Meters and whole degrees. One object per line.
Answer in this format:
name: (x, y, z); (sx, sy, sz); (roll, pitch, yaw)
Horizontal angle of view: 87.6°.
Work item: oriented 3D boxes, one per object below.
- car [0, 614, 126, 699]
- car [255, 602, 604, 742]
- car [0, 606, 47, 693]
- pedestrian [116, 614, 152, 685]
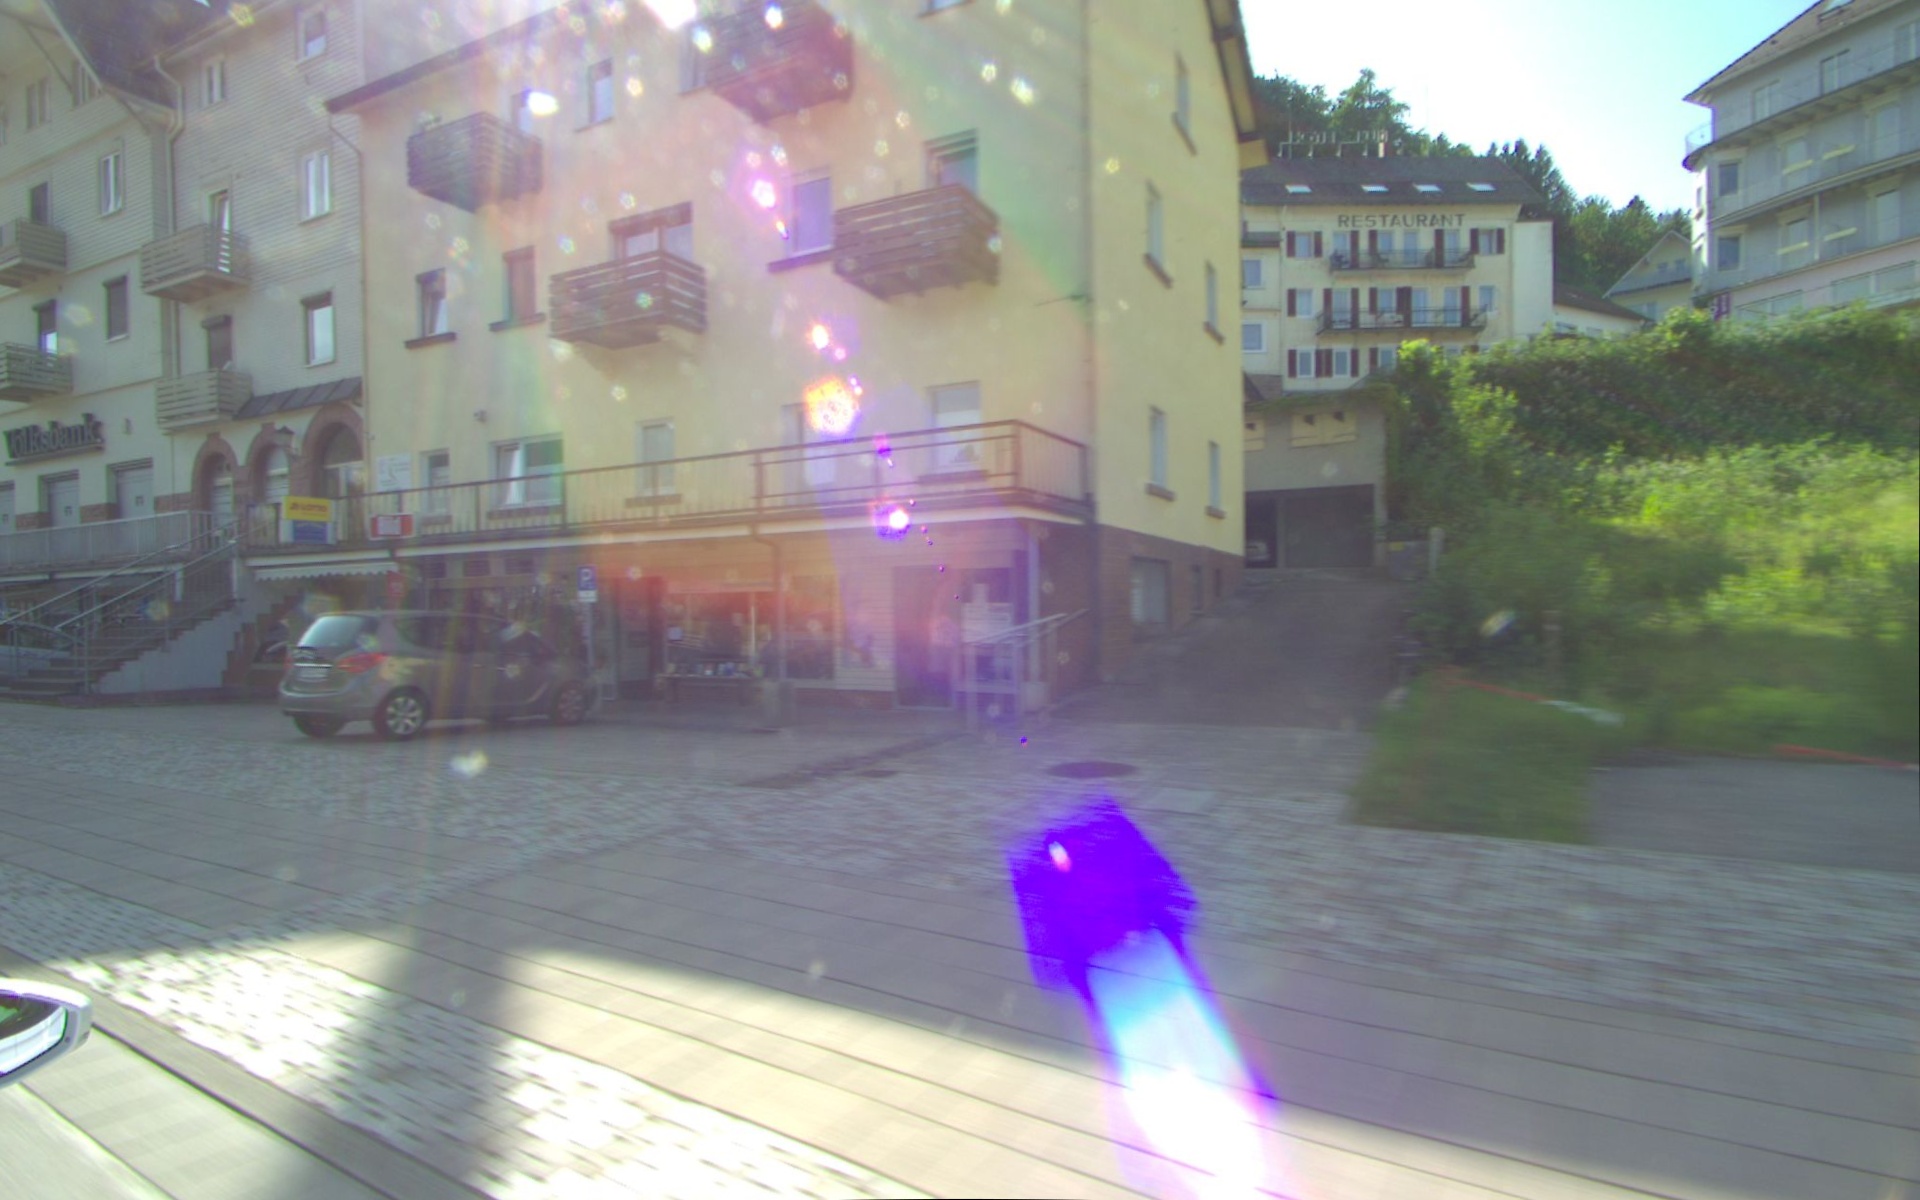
car: (-19.104, 1.085, 19.566); (1.747, 1.609, 3.909); (0, -3, 28)
car: (-6.895, 0.919, 13.461); (1.732, 1.574, 3.861); (-1, -3, 26)
car: (-21.681, 1.001, 20.572); (1.829, 1.826, 3.909); (-1, -4, 29)
pedestrian: (-20.076, 1.195, 24.344); (0.426, 1.681, 0.457); (-1, 2, 11)
